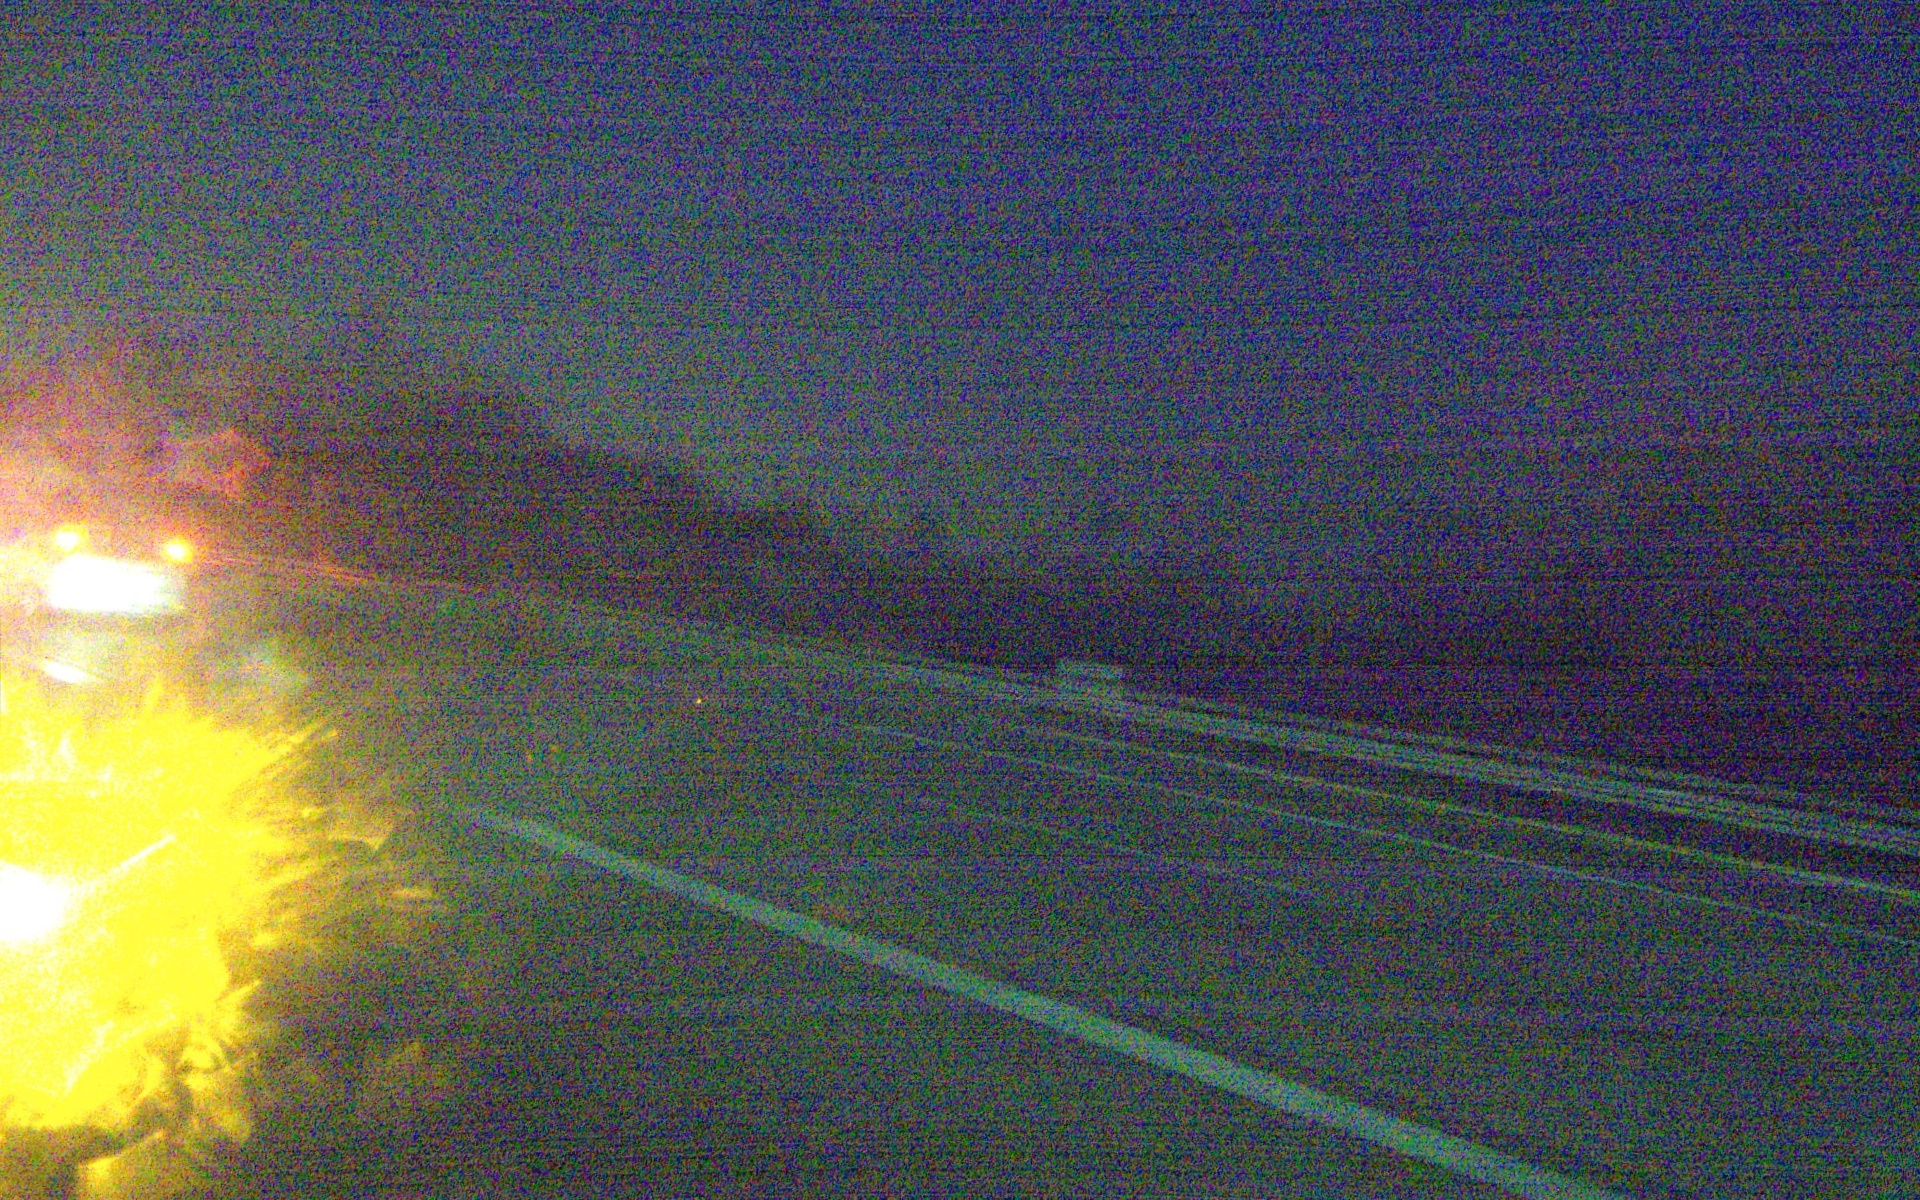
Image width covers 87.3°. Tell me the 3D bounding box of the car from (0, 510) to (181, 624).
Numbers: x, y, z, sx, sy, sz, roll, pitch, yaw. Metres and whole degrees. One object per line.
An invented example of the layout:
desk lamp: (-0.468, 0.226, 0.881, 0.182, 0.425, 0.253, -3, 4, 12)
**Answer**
car: (-12.691, -0.520, 14.078, 3.014, 1.260, 1.586, 7, -2, 27)
